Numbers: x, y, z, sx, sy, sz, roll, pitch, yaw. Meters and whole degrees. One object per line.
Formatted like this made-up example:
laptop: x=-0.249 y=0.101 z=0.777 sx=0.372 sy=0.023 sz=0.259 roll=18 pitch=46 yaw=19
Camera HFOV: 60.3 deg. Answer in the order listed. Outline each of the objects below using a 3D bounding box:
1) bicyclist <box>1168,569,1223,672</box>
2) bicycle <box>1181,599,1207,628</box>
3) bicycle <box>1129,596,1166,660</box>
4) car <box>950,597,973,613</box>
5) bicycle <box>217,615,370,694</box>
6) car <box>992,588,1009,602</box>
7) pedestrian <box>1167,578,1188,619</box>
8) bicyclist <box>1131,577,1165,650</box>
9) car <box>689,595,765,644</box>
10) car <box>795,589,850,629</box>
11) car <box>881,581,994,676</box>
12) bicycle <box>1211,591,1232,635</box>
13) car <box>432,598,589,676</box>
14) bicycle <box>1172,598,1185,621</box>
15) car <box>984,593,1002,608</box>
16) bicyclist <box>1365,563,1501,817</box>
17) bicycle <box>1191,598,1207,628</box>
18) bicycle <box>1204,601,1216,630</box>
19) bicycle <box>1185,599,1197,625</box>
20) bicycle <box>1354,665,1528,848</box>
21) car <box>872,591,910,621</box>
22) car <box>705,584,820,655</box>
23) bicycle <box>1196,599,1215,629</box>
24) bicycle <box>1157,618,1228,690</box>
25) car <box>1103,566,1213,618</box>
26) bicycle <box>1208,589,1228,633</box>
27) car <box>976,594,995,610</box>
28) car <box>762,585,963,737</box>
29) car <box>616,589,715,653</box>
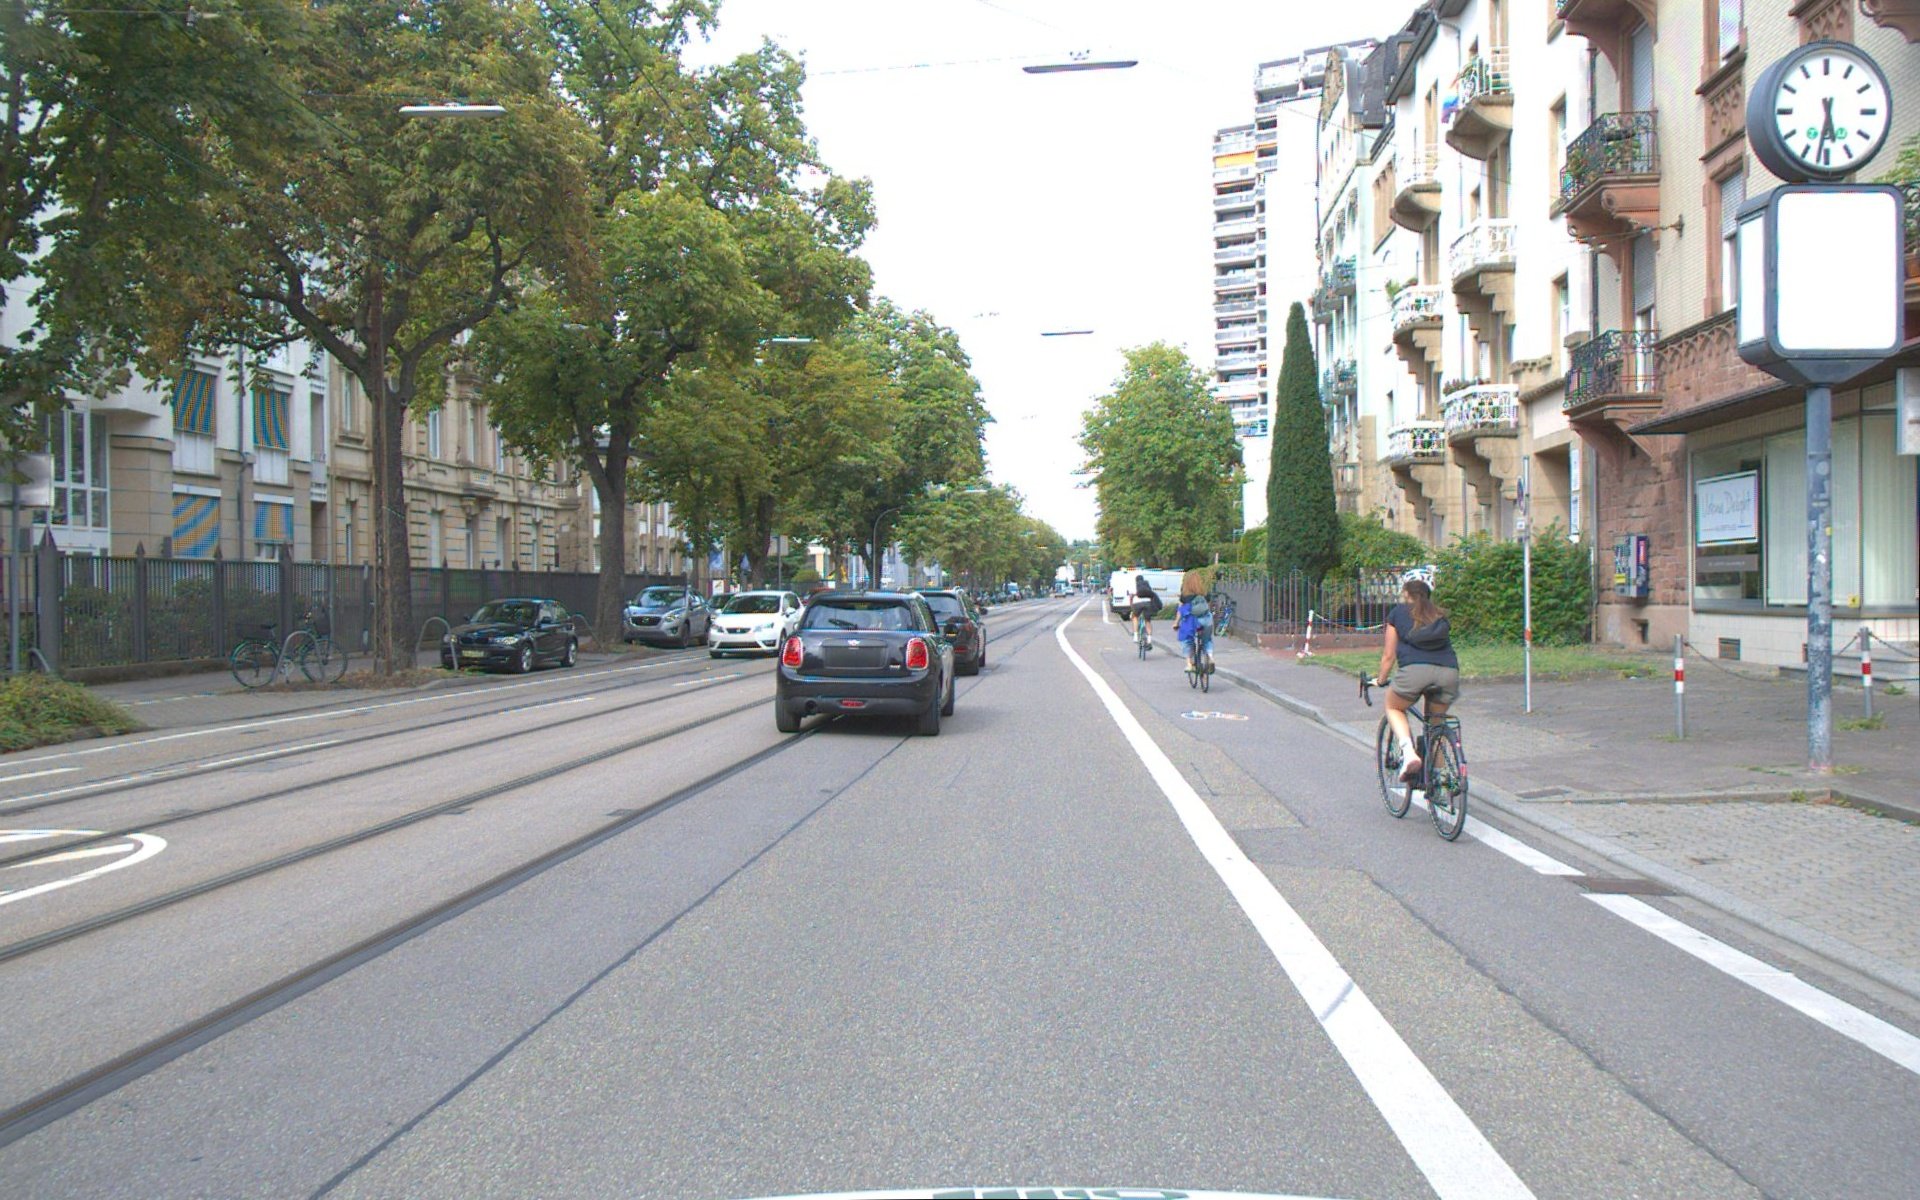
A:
bicyclist: x=3.469 y=0.289 z=24.405 sx=0.634 sy=1.495 sz=0.800 roll=-1 pitch=1 yaw=-3
bicycle: x=7.884 y=0.460 z=55.771 sx=0.476 sy=0.923 sz=1.662 roll=-2 pitch=-1 yaw=-6
bicycle: x=3.867 y=0.560 z=34.178 sx=0.643 sy=1.271 sz=2.126 roll=0 pitch=0 yaw=4
car: x=0.129 y=0.418 z=147.965 sx=1.764 sy=1.398 sz=4.033 roll=-2 pitch=0 yaw=4
bicycle: x=-10.626 y=0.843 z=26.397 sx=2.204 sy=1.195 sz=0.828 roll=0 pitch=0 yaw=-29
car: x=4.817 y=-0.558 z=196.978 sx=1.764 sy=1.611 sz=4.033 roll=-2 pitch=0 yaw=4
pedestrian: x=9.546 y=-0.072 z=72.625 sx=0.768 sy=1.763 sz=0.896 roll=-3 pitch=0 yaw=4
bicyclist: x=3.877 y=0.274 z=34.196 sx=0.643 sy=1.489 sz=1.179 roll=0 pitch=0 yaw=4
car: x=-7.431 y=0.603 z=53.088 sx=1.567 sy=1.494 sz=4.081 roll=0 pitch=0 yaw=4
car: x=-6.007 y=0.381 z=72.586 sx=1.685 sy=1.684 sz=4.544 roll=1 pitch=0 yaw=4
car: x=-0.328 y=0.460 z=28.744 sx=1.756 sy=1.496 sz=4.001 roll=1 pitch=0 yaw=2
bicycle: x=6.853 y=0.335 z=43.365 sx=0.383 sy=1.122 sz=1.760 roll=-2 pitch=0 yaw=5
car: x=-9.177 y=0.707 z=34.111 sx=1.683 sy=1.449 sz=4.169 roll=2 pitch=0 yaw=6
bicycle: x=9.047 y=0.383 z=68.416 sx=0.378 sy=0.923 sz=1.842 roll=-2 pitch=-1 yaw=3
car: x=3.752 y=0.066 z=187.870 sx=1.764 sy=1.611 sz=4.033 roll=-2 pitch=0 yaw=4
bicyclist: x=3.115 y=0.561 z=10.975 sx=0.625 sy=1.597 sz=1.111 roll=0 pitch=0 yaw=2
bicycle: x=7.766 y=0.424 z=53.860 sx=0.475 sy=0.923 sz=1.666 roll=-2 pitch=-1 yaw=8
bicycle: x=7.599 y=0.475 z=50.262 sx=0.272 sy=0.867 sz=1.198 roll=-2 pitch=-1 yaw=5
bicycle: x=8.406 y=0.434 z=60.177 sx=0.378 sy=0.923 sz=1.666 roll=-2 pitch=-1 yaw=9
bicycle: x=3.120 y=0.977 z=10.913 sx=0.625 sy=0.998 sz=2.072 roll=0 pitch=0 yaw=2
car: x=-3.945 y=0.326 z=95.449 sx=1.719 sy=1.676 sz=4.054 roll=0 pitch=0 yaw=4
car: x=-4.439 y=0.404 z=37.703 sx=1.537 sy=1.440 sz=4.003 roll=-3 pitch=0 yaw=8
bicycle: x=7.713 y=0.438 z=52.072 sx=0.475 sy=0.923 sz=1.666 roll=-2 pitch=-1 yaw=5
bicycle: x=3.460 y=0.785 z=24.752 sx=0.674 sy=0.979 sz=2.035 roll=-1 pitch=0 yaw=-3
car: x=9.227 y=-0.374 z=76.840 sx=4.909 sy=2.330 sz=2.352 roll=0 pitch=0 yaw=-39
bicycle: x=7.177 y=0.296 z=46.064 sx=0.383 sy=1.162 sz=1.922 roll=-2 pitch=0 yaw=5
car: x=2.785 y=0.245 z=177.864 sx=1.764 sy=1.611 sz=4.033 roll=-2 pitch=0 yaw=4
car: x=-0.943 y=0.586 z=18.081 sx=1.756 sy=1.448 sz=4.001 roll=1 pitch=0 yaw=3
car: x=-8.129 y=0.539 z=46.053 sx=1.674 sy=1.703 sz=4.359 roll=0 pitch=0 yaw=4
